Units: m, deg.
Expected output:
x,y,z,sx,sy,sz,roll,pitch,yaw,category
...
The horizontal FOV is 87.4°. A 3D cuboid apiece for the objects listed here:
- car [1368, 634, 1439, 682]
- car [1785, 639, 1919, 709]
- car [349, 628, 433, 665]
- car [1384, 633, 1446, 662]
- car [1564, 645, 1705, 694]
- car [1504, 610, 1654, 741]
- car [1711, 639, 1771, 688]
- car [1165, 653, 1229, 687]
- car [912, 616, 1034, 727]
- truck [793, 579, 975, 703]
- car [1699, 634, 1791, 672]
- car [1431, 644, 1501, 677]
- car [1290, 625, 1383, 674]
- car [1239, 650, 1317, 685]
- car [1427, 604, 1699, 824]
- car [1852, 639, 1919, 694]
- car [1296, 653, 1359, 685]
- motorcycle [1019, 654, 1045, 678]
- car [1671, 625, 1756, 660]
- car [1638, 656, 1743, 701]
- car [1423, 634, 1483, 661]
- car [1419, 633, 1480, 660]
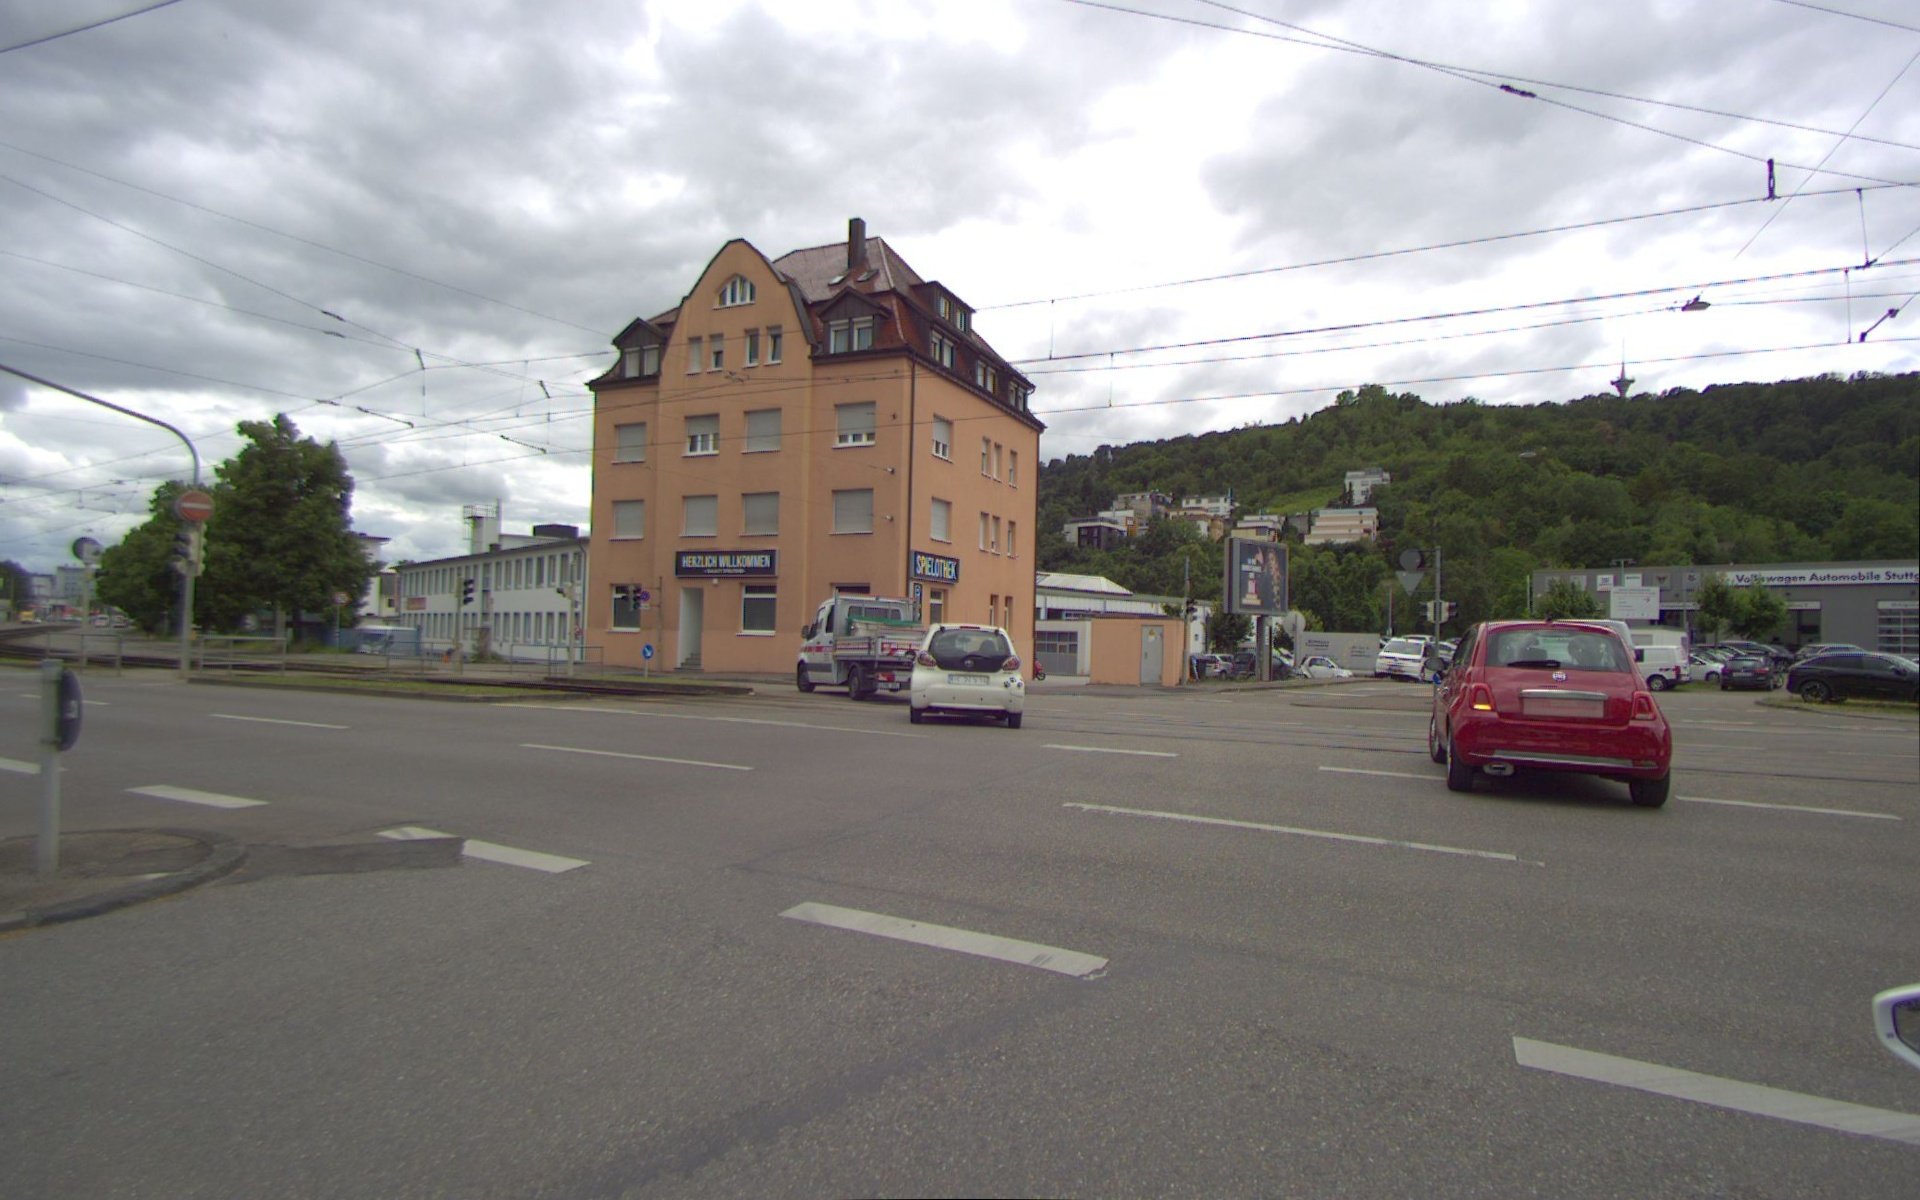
x,y,z,sx,sy,sz,roll,pitch,yaw,category
19.936,2.612,45.034,2.047,1.877,4.896,4,-1,33,car
26.610,2.108,28.947,1.978,1.662,3.964,0,2,-32,car
-34.650,2.772,61.382,1.716,2.129,6.299,1,-1,-3,car
39.311,4.092,86.859,4.438,2.023,1.993,4,-1,37,car
30.363,3.103,45.355,1.985,2.039,4.958,5,-5,-41,car
11.798,1.289,19.456,1.968,2.068,4.825,3,1,27,car
35.143,2.887,45.168,1.970,2.039,4.997,-1,-5,40,car
14.621,4.303,61.794,1.969,1.863,4.492,4,-1,39,car
0.103,1.070,15.257,1.568,1.438,3.374,2,-4,-3,car
-1.928,0.973,23.215,2.290,2.453,5.620,4,-4,-25,truck
46.058,3.117,58.952,1.841,1.817,3.948,5,-1,-43,car
37.576,4.453,74.633,4.431,2.023,1.996,4,-1,31,car
20.499,2.683,54.871,4.420,2.272,2.001,5,-1,14,car
15.233,3.222,48.244,3.499,1.505,1.604,1,-2,17,car
5.536,0.902,9.715,1.671,1.545,3.998,4,0,24,car
33.414,2.398,34.436,3.933,1.728,1.994,4,-1,35,car
19.034,3.575,52.007,2.762,1.355,1.534,4,-1,30,car
3.453,3.152,48.366,0.521,0.997,1.701,5,-1,-21,motorcycle
47.144,2.630,62.888,1.841,1.817,3.948,5,-1,-43,car
36.589,3.936,50.377,1.841,1.817,3.948,5,-1,-43,car
44.711,4.269,91.104,4.438,2.023,1.993,4,-1,37,car
43.356,4.127,89.057,4.438,2.023,1.993,4,-1,37,car
